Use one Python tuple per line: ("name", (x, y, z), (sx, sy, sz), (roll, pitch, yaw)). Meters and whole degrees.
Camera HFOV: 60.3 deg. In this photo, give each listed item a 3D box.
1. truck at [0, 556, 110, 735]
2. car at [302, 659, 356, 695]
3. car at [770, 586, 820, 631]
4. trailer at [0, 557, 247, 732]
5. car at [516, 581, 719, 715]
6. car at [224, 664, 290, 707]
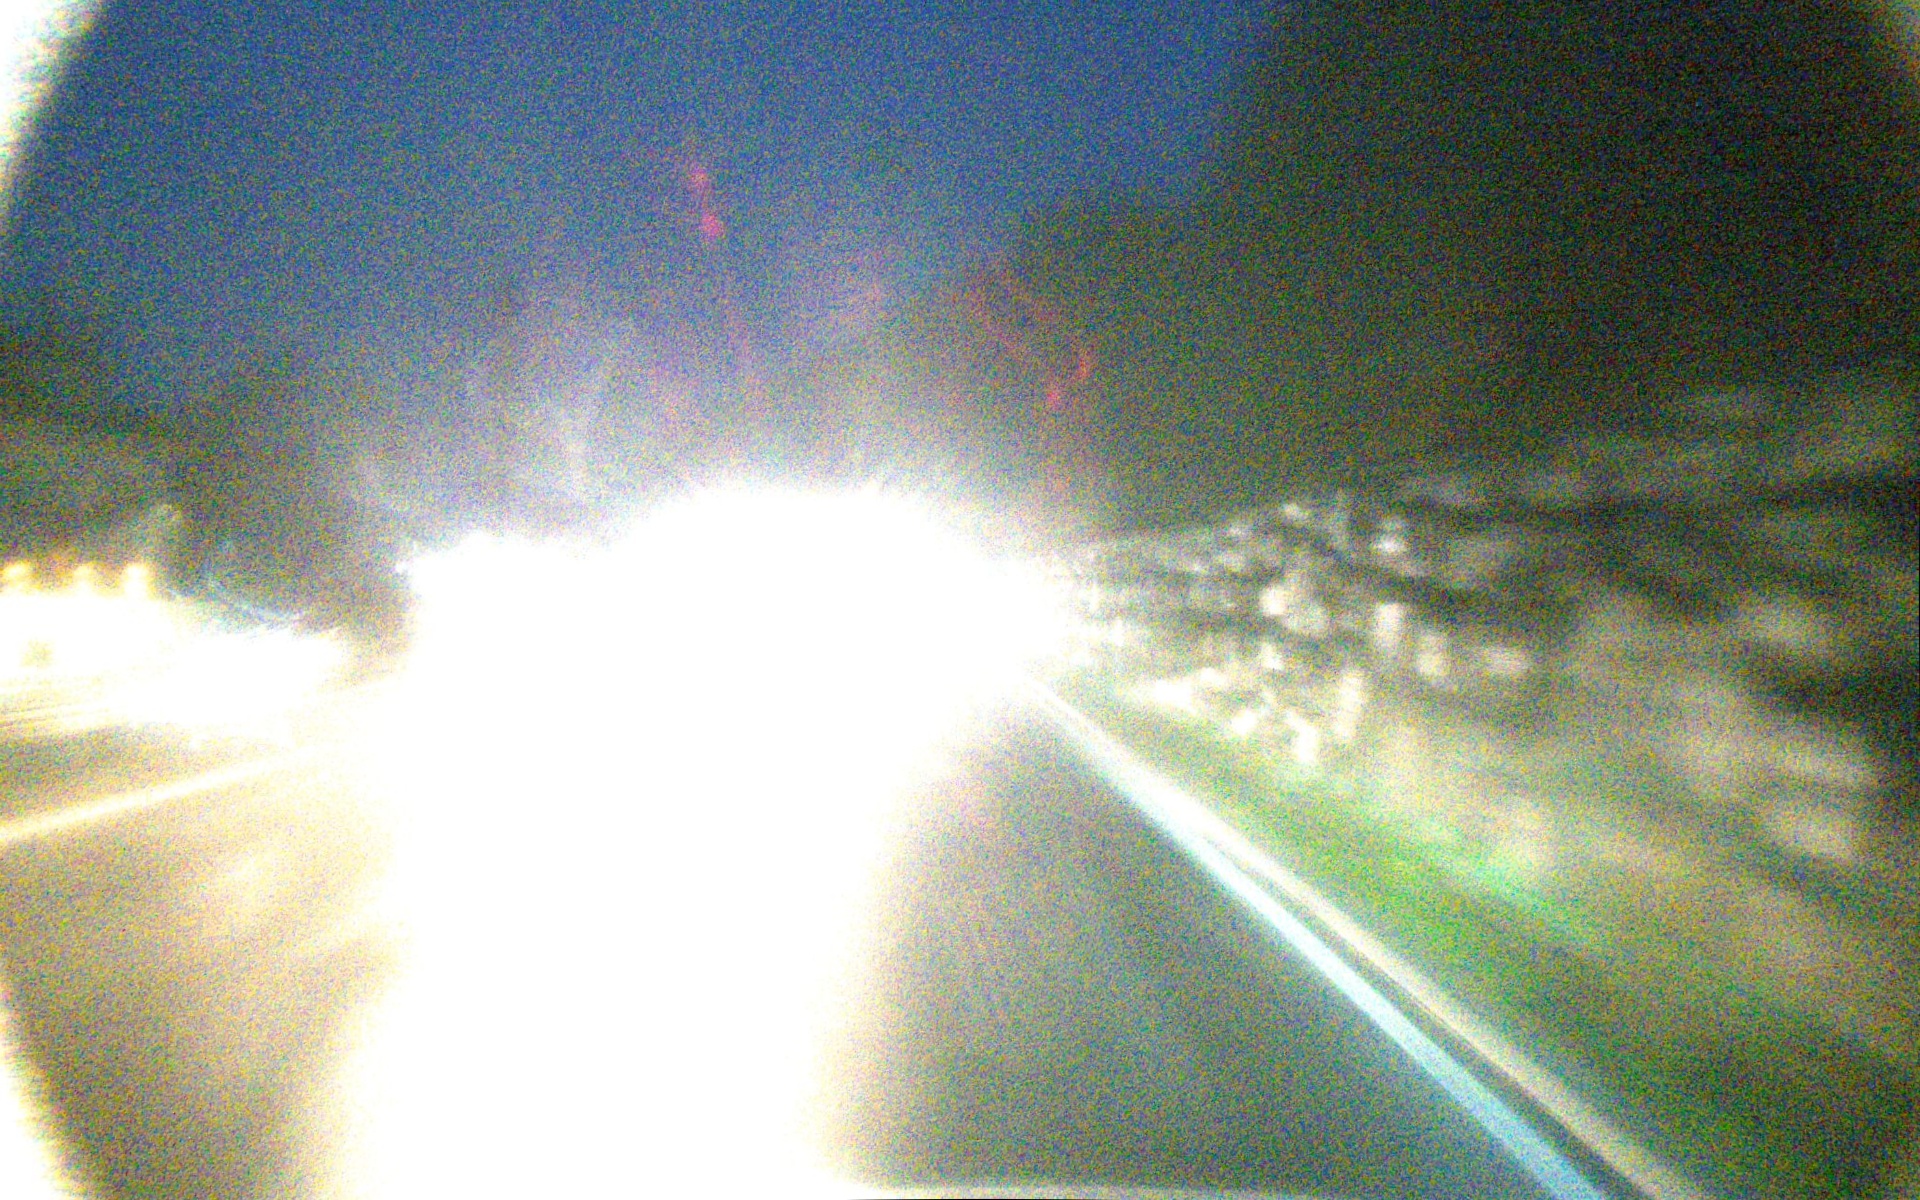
("truck", (-27.629, 1.219, 46.322), (3.257, 4.880, 7.324), (1, 0, 6))
("car", (-31.939, 3.888, 83.779), (1.775, 1.597, 4.282), (1, 0, -10))
("car", (-5.897, 0.286, 59.459), (1.603, 1.546, 3.768), (-1, 0, -3))
("trailer", (-27.020, 1.243, 51.854), (3.256, 4.880, 11.563), (1, 0, 6))
("car", (-4.005, 0.526, 19.967), (1.677, 1.442, 4.064), (1, 0, -1))
("car", (-31.496, 3.814, 74.197), (1.775, 1.705, 4.282), (1, 0, -10))
